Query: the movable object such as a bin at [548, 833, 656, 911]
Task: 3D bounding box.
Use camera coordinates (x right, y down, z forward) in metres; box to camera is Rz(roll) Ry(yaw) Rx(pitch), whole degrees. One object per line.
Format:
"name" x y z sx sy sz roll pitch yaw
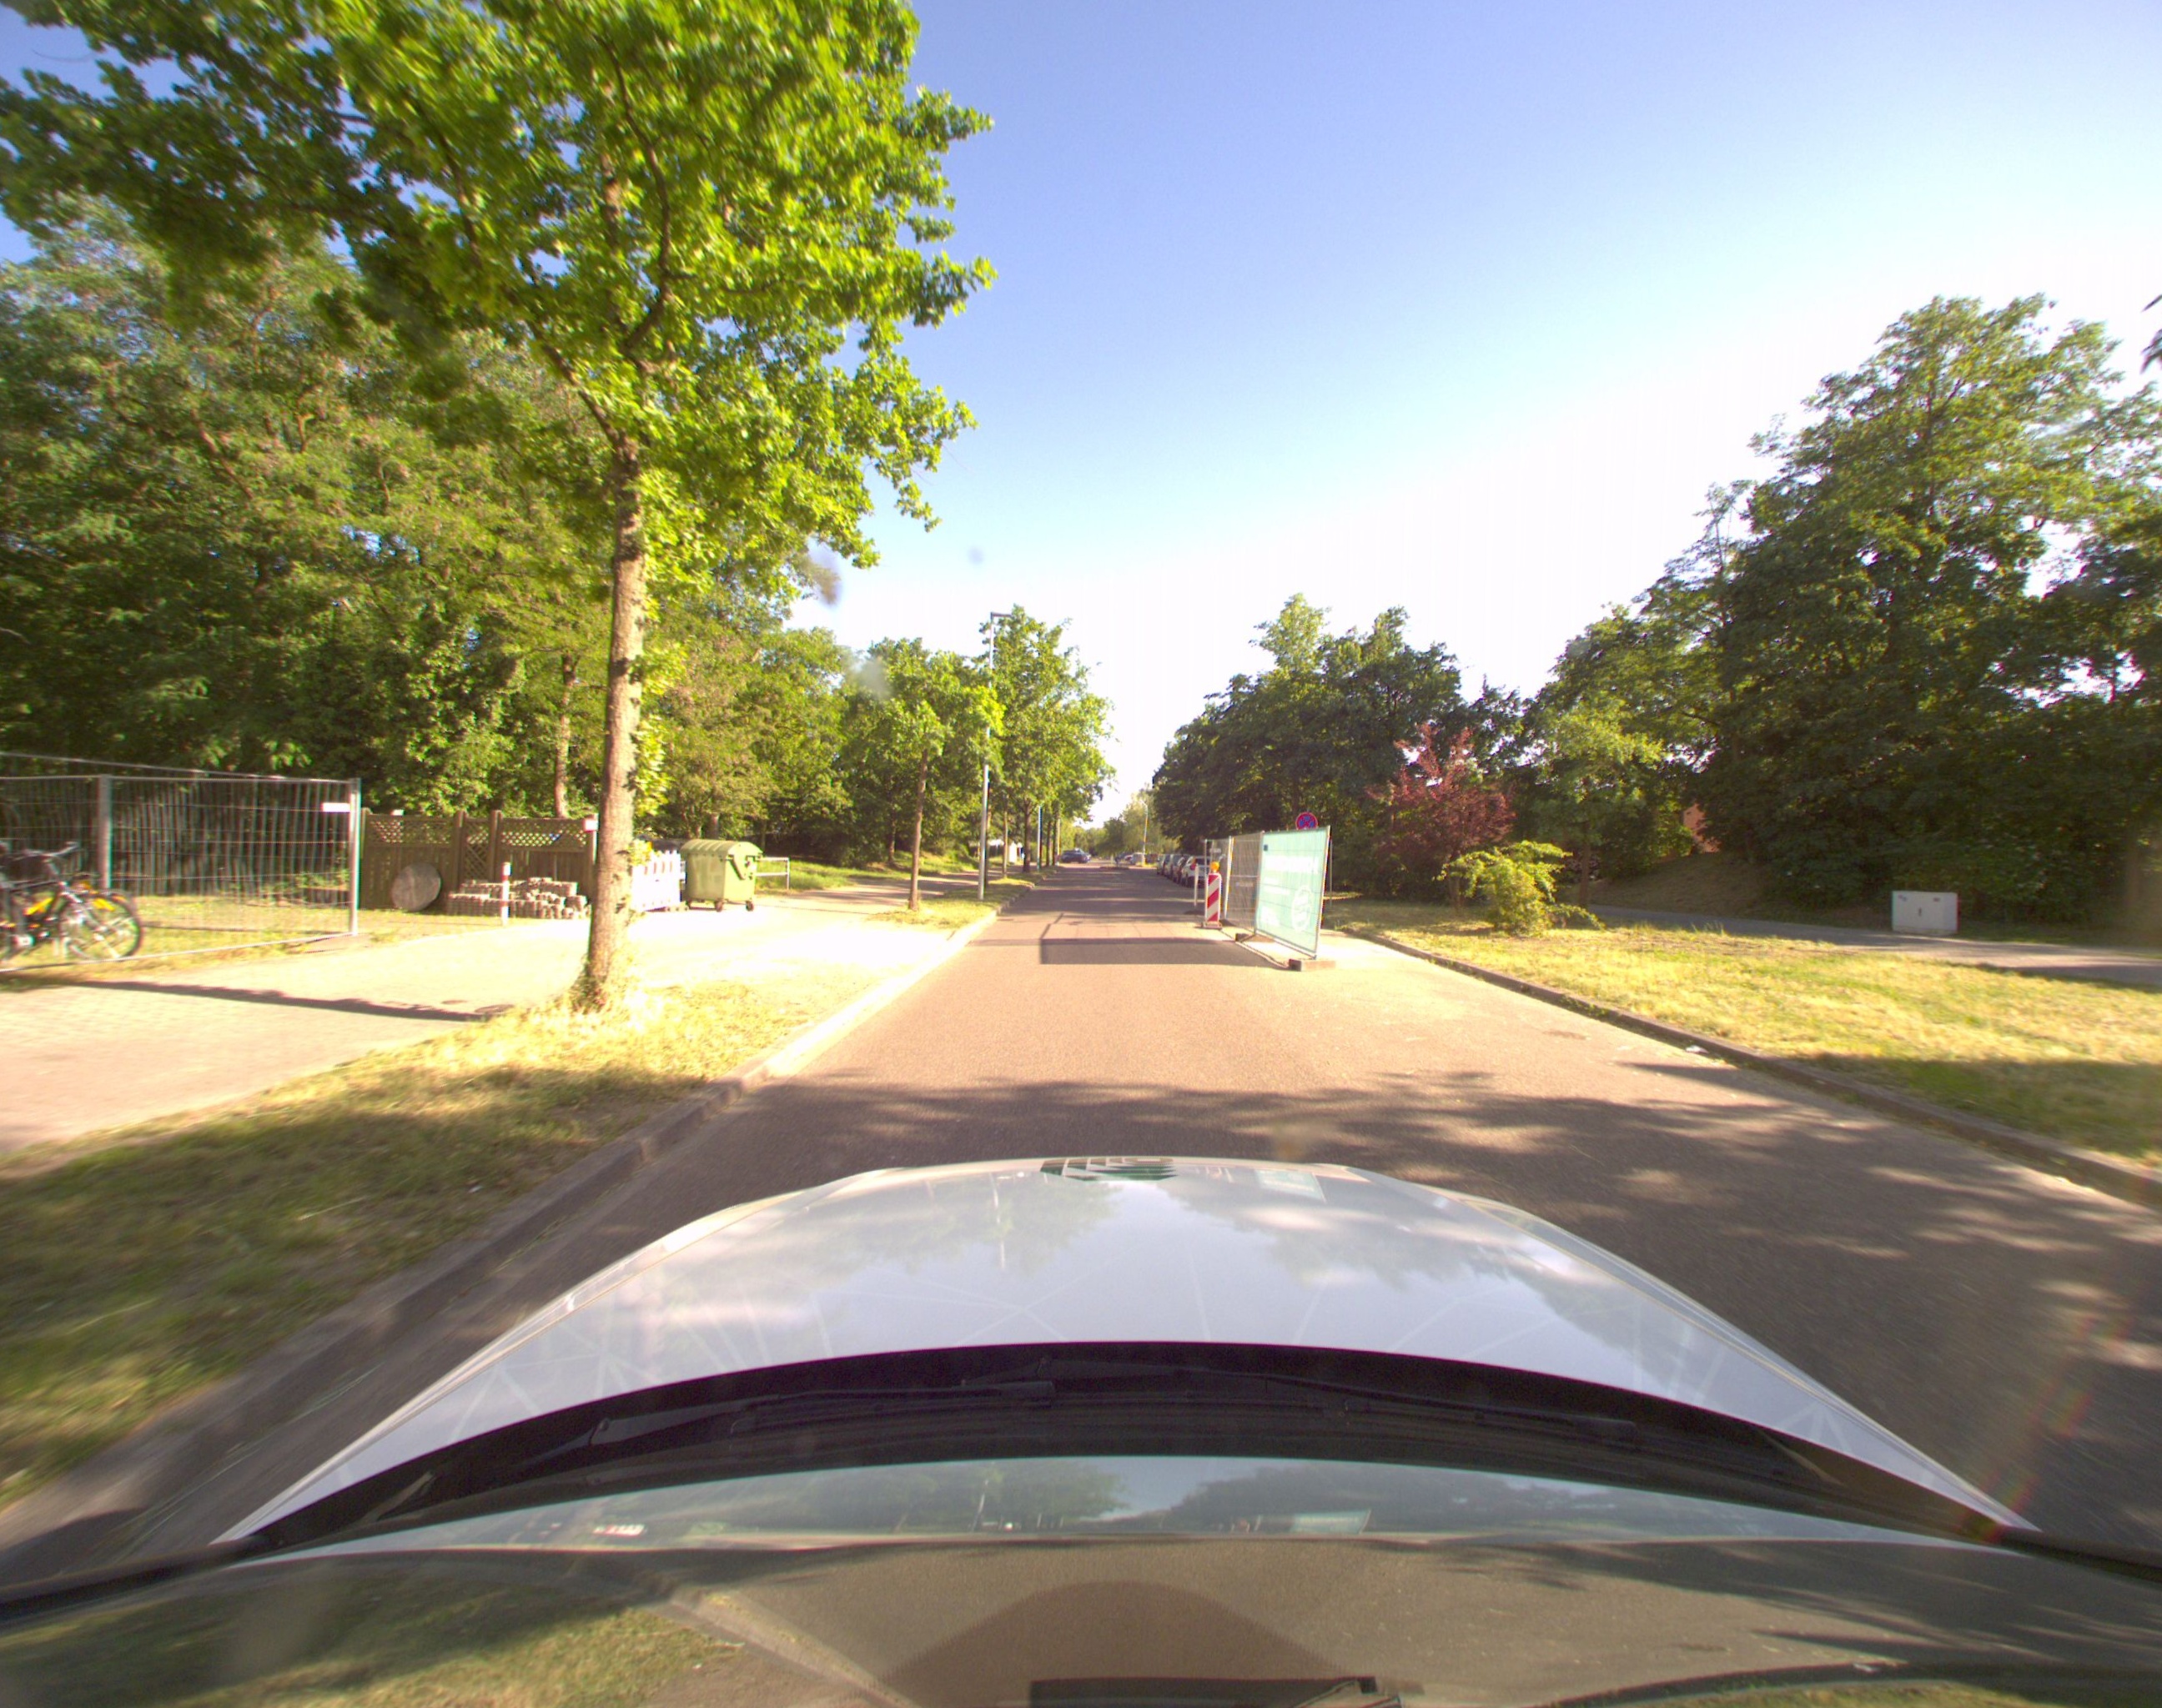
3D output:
"movable object such as a bin" -9.298 0.328 15.852 1.257 1.435 1.334 1 0 29

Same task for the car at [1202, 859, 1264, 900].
"car" 5.887 0.949 31.923 1.655 1.375 4.156 3 0 1

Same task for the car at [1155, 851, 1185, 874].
"car" 7.333 0.690 67.662 1.786 1.785 4.553 3 0 -2

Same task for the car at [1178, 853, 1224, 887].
"car" 6.315 0.813 43.280 1.770 1.621 4.064 3 0 0

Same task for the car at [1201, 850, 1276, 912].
"car" 4.825 0.775 25.457 1.801 1.651 4.427 3 0 5

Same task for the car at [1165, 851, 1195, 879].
"car" 6.825 0.761 56.453 1.617 1.773 3.670 3 0 2

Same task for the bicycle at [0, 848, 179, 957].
"bicycle" -10.107 0.462 7.901 1.916 1.027 0.399 2 -1 -12

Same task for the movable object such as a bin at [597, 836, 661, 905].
"movable object such as a bin" -9.944 0.348 17.909 1.149 1.435 1.260 1 0 -32

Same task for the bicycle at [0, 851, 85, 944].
"bicycle" -12.192 0.481 8.903 0.397 1.027 1.702 1 -1 4

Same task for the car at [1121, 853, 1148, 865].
"car" 7.924 0.684 119.898 3.817 1.576 1.692 3 0 7

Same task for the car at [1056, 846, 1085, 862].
"car" -1.914 0.028 147.005 5.189 2.621 2.290 3 0 -4

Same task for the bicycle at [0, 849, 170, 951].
"bicycle" -11.172 0.475 8.924 0.398 1.027 1.700 1 -1 1

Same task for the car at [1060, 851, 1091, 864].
"car" -0.813 0.530 121.727 4.294 1.576 2.050 3 0 8

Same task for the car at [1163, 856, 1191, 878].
"car" 7.191 0.918 61.514 1.685 1.512 4.208 3 0 2

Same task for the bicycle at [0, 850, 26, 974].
"bicycle" -9.861 0.457 6.539 1.839 1.027 0.399 2 -1 -12

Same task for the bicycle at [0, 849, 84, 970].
"bicycle" -9.959 0.460 7.012 1.860 1.027 0.399 2 -1 -12

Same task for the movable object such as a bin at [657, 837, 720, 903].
"movable object such as a bin" -8.998 0.348 18.670 1.149 1.435 1.260 1 0 -32

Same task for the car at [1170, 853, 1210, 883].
"car" 6.464 0.820 48.473 1.770 1.621 4.064 3 0 0

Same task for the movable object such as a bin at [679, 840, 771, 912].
"movable object such as a bin" -7.434 0.437 17.035 1.259 1.435 1.187 1 0 17

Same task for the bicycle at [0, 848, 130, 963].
"bicycle" -10.022 0.458 7.435 1.839 1.027 0.399 2 -1 -12

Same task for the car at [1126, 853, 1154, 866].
"car" 8.505 0.765 117.064 3.817 1.576 1.692 3 0 7
